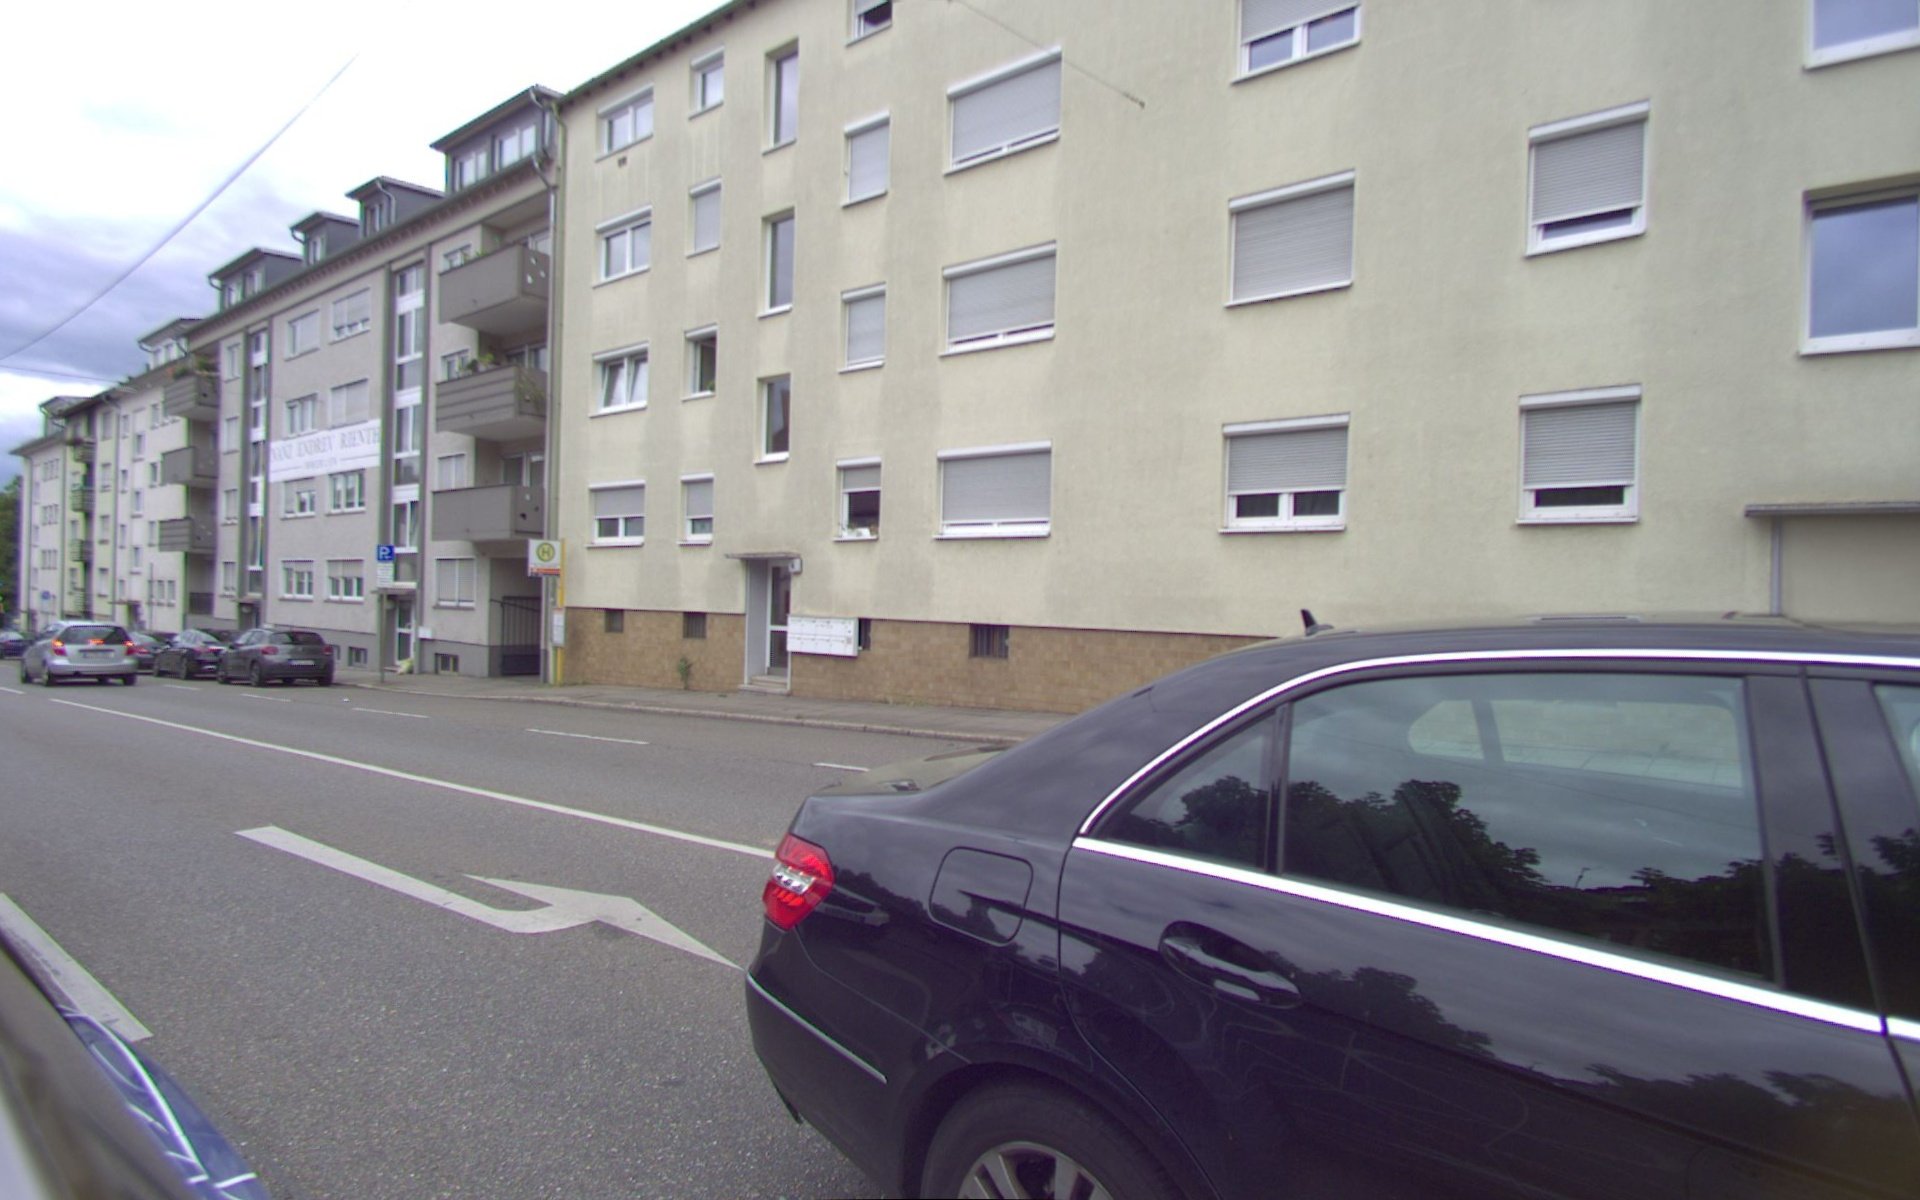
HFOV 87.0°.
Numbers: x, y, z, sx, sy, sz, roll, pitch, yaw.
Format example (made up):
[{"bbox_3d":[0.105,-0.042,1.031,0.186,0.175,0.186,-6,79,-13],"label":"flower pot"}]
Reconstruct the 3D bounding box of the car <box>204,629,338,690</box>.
[{"bbox_3d":[-17.800,1.508,26.101,3.797,1.447,1.751,-1,-4,39],"label":"car"}]

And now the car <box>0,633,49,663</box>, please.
[{"bbox_3d":[-46.404,2.354,49.715,4.305,1.391,1.851,-1,-4,41],"label":"car"}]

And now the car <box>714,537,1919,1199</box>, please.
[{"bbox_3d":[1.670,0.672,1.443,4.444,1.465,1.729,-1,-1,42],"label":"car"}]

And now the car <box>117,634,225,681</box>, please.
[{"bbox_3d":[-25.758,1.825,33.004,4.301,1.416,1.751,-1,-3,38],"label":"car"}]

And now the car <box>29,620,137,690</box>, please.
[{"bbox_3d":[-22.118,1.344,25.476,4.002,1.630,1.689,-1,-4,45],"label":"car"}]
